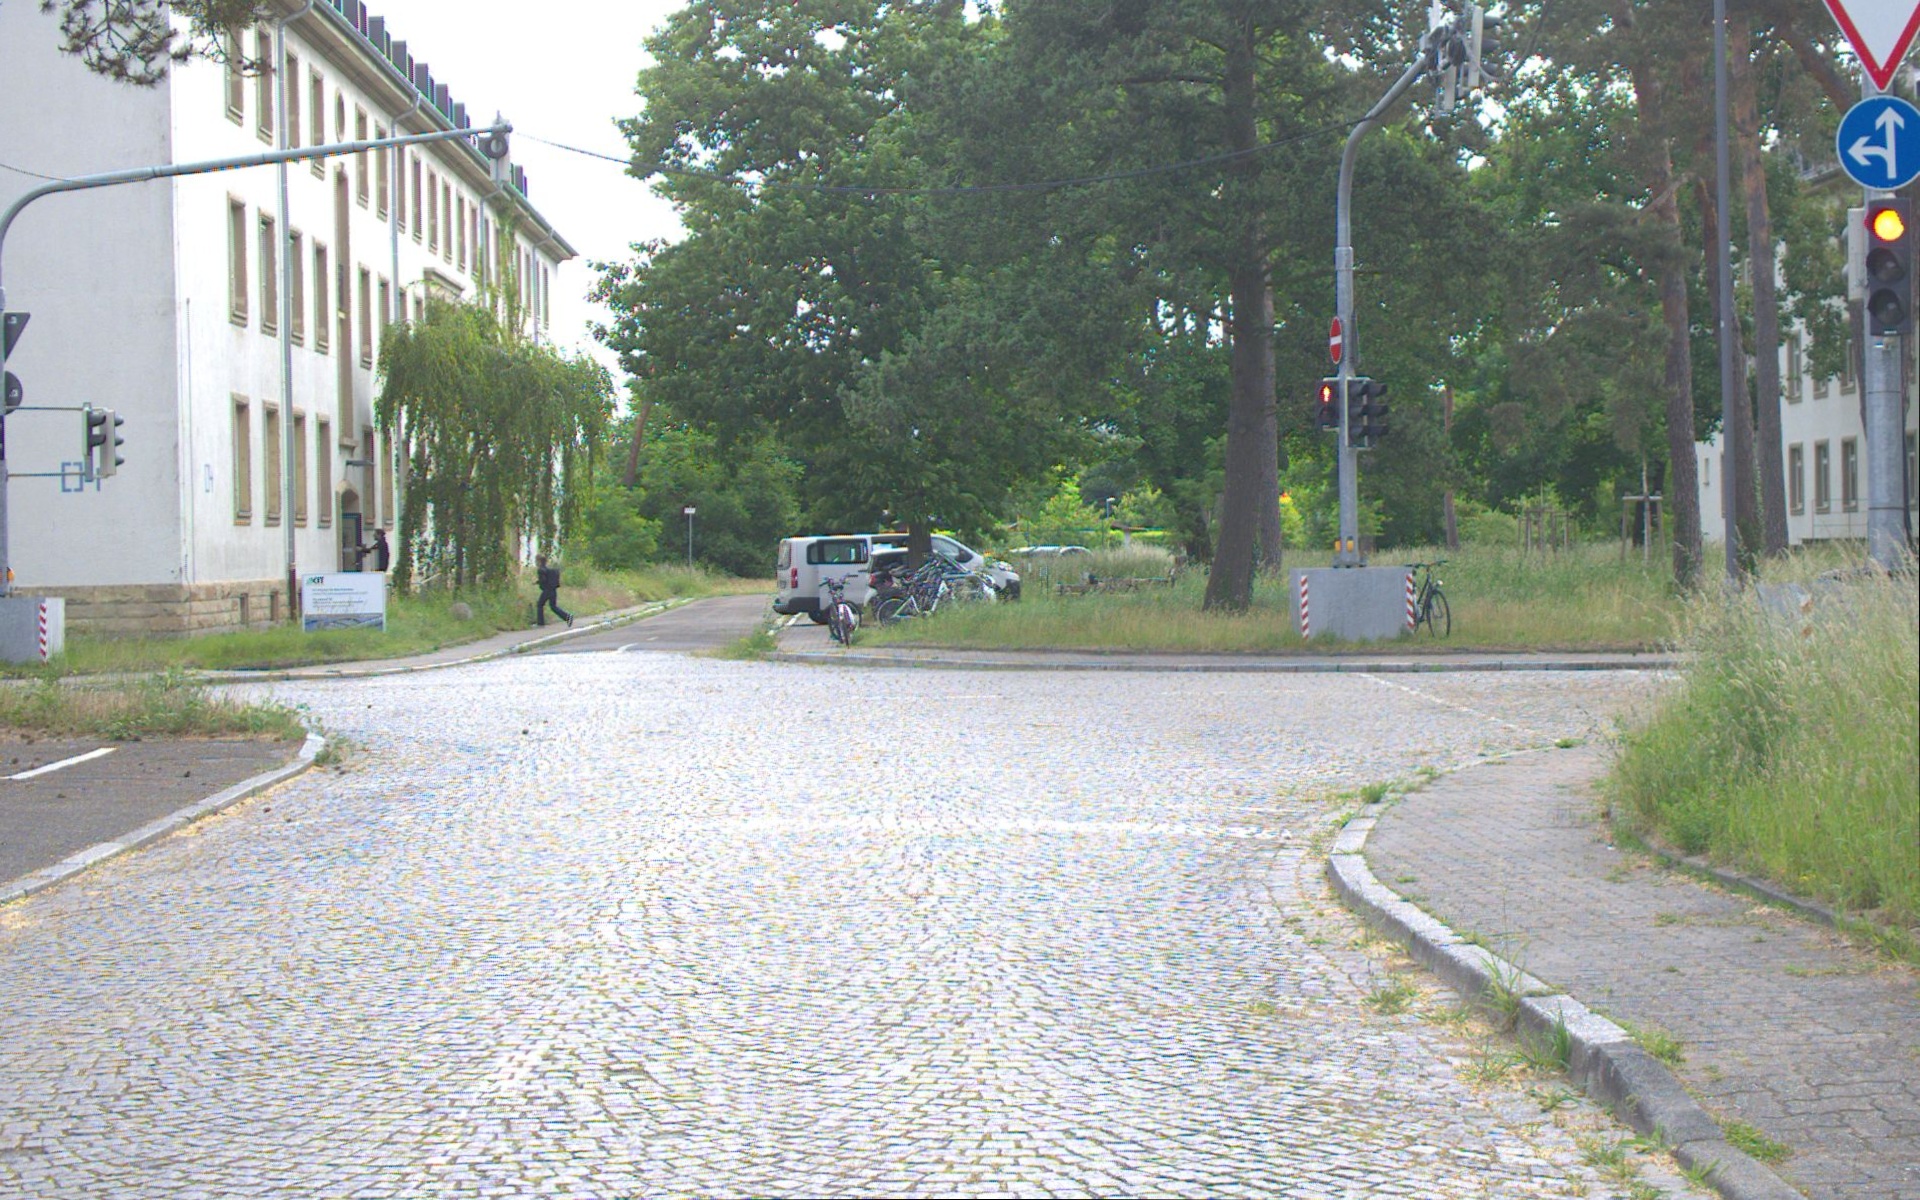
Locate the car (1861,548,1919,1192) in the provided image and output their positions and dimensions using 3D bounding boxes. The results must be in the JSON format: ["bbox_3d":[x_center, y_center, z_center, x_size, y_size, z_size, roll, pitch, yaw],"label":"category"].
[{"bbox_3d":[4.126,0.541,7.315,3.927,1.472,1.642,-3,1,0],"label":"car"}]

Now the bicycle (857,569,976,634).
[{"bbox_3d":[-0.731,0.019,58.202,1.955,1.066,0.588,-2,1,-31],"label":"bicycle"}]

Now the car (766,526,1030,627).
[{"bbox_3d":[-1.353,-0.523,74.158,5.359,1.918,2.025,-3,1,-10],"label":"car"}]

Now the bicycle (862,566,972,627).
[{"bbox_3d":[-0.789,-0.066,63.238,1.955,1.066,0.588,-1,1,-26],"label":"bicycle"}]

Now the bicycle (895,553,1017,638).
[{"bbox_3d":[-0.068,-0.086,57.560,1.954,1.379,0.588,-1,1,-8],"label":"bicycle"}]

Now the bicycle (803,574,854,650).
[{"bbox_3d":[-2.031,0.172,52.867,0.603,1.128,1.962,-1,1,-7],"label":"bicycle"}]

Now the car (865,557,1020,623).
[{"bbox_3d":[-0.374,-0.215,70.814,3.005,1.264,1.535,-1,1,-7],"label":"car"}]

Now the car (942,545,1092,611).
[{"bbox_3d":[1.282,-0.511,78.086,3.231,1.411,1.725,-1,1,-4],"label":"car"}]

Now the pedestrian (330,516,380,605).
[{"bbox_3d":[-12.601,-0.814,71.613,0.774,1.831,0.741,-2,1,-32],"label":"pedestrian"}]

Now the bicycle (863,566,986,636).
[{"bbox_3d":[-0.586,0.015,56.721,1.954,1.113,0.588,-1,1,-8],"label":"bicycle"}]

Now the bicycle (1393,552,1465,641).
[{"bbox_3d":[5.999,-0.059,44.086,0.586,1.102,1.962,-1,1,-2],"label":"bicycle"}]

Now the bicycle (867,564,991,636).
[{"bbox_3d":[-0.507,0.000,56.089,1.954,1.129,0.588,-1,1,-8],"label":"bicycle"}]

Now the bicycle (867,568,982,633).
[{"bbox_3d":[-0.614,-0.001,59.555,1.955,1.066,0.588,-2,1,-31],"label":"bicycle"}]

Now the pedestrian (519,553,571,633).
[{"bbox_3d":[-8.517,-0.154,70.580,0.775,1.613,0.740,-1,1,23],"label":"pedestrian"}]
